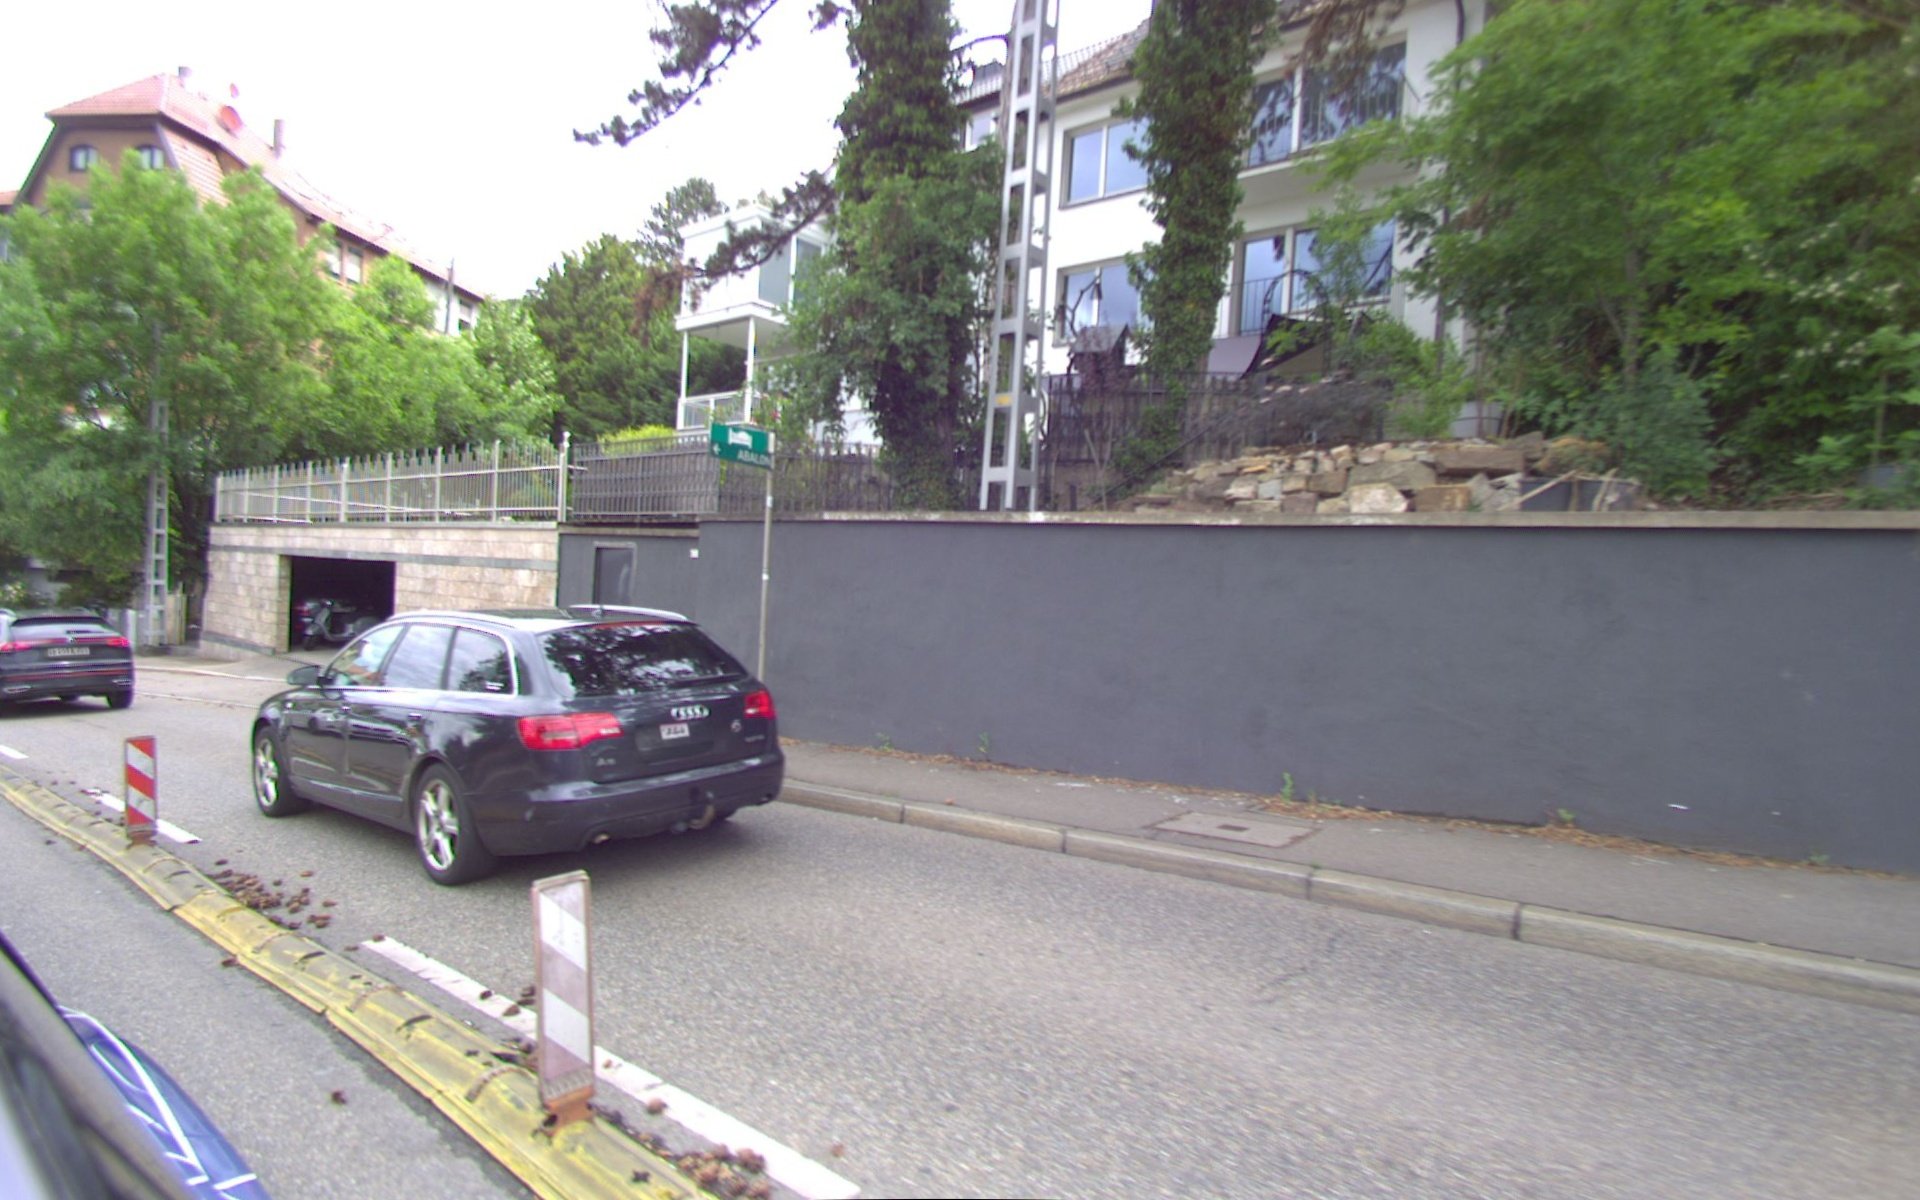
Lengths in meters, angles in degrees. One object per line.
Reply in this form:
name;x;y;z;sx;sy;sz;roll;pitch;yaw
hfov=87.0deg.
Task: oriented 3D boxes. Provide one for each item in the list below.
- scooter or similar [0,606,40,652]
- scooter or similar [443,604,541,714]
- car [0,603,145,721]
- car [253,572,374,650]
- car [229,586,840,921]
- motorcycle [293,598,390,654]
scooter or similar;-27.107;0.832;29.117;0.954;1.266;0.404;-1;3;13
scooter or similar;-5.579;0.676;12.121;0.489;1.242;1.212;-1;0;7
car;-14.013;0.855;15.242;3.902;1.541;1.743;-1;1;36
car;-15.995;0.200;24.987;3.586;1.616;1.552;5;4;40
car;-2.993;0.695;6.583;4.505;1.475;1.773;-1;0;40
motorcycle;-14.367;0.590;23.523;0.637;1.192;1.818;5;4;43
